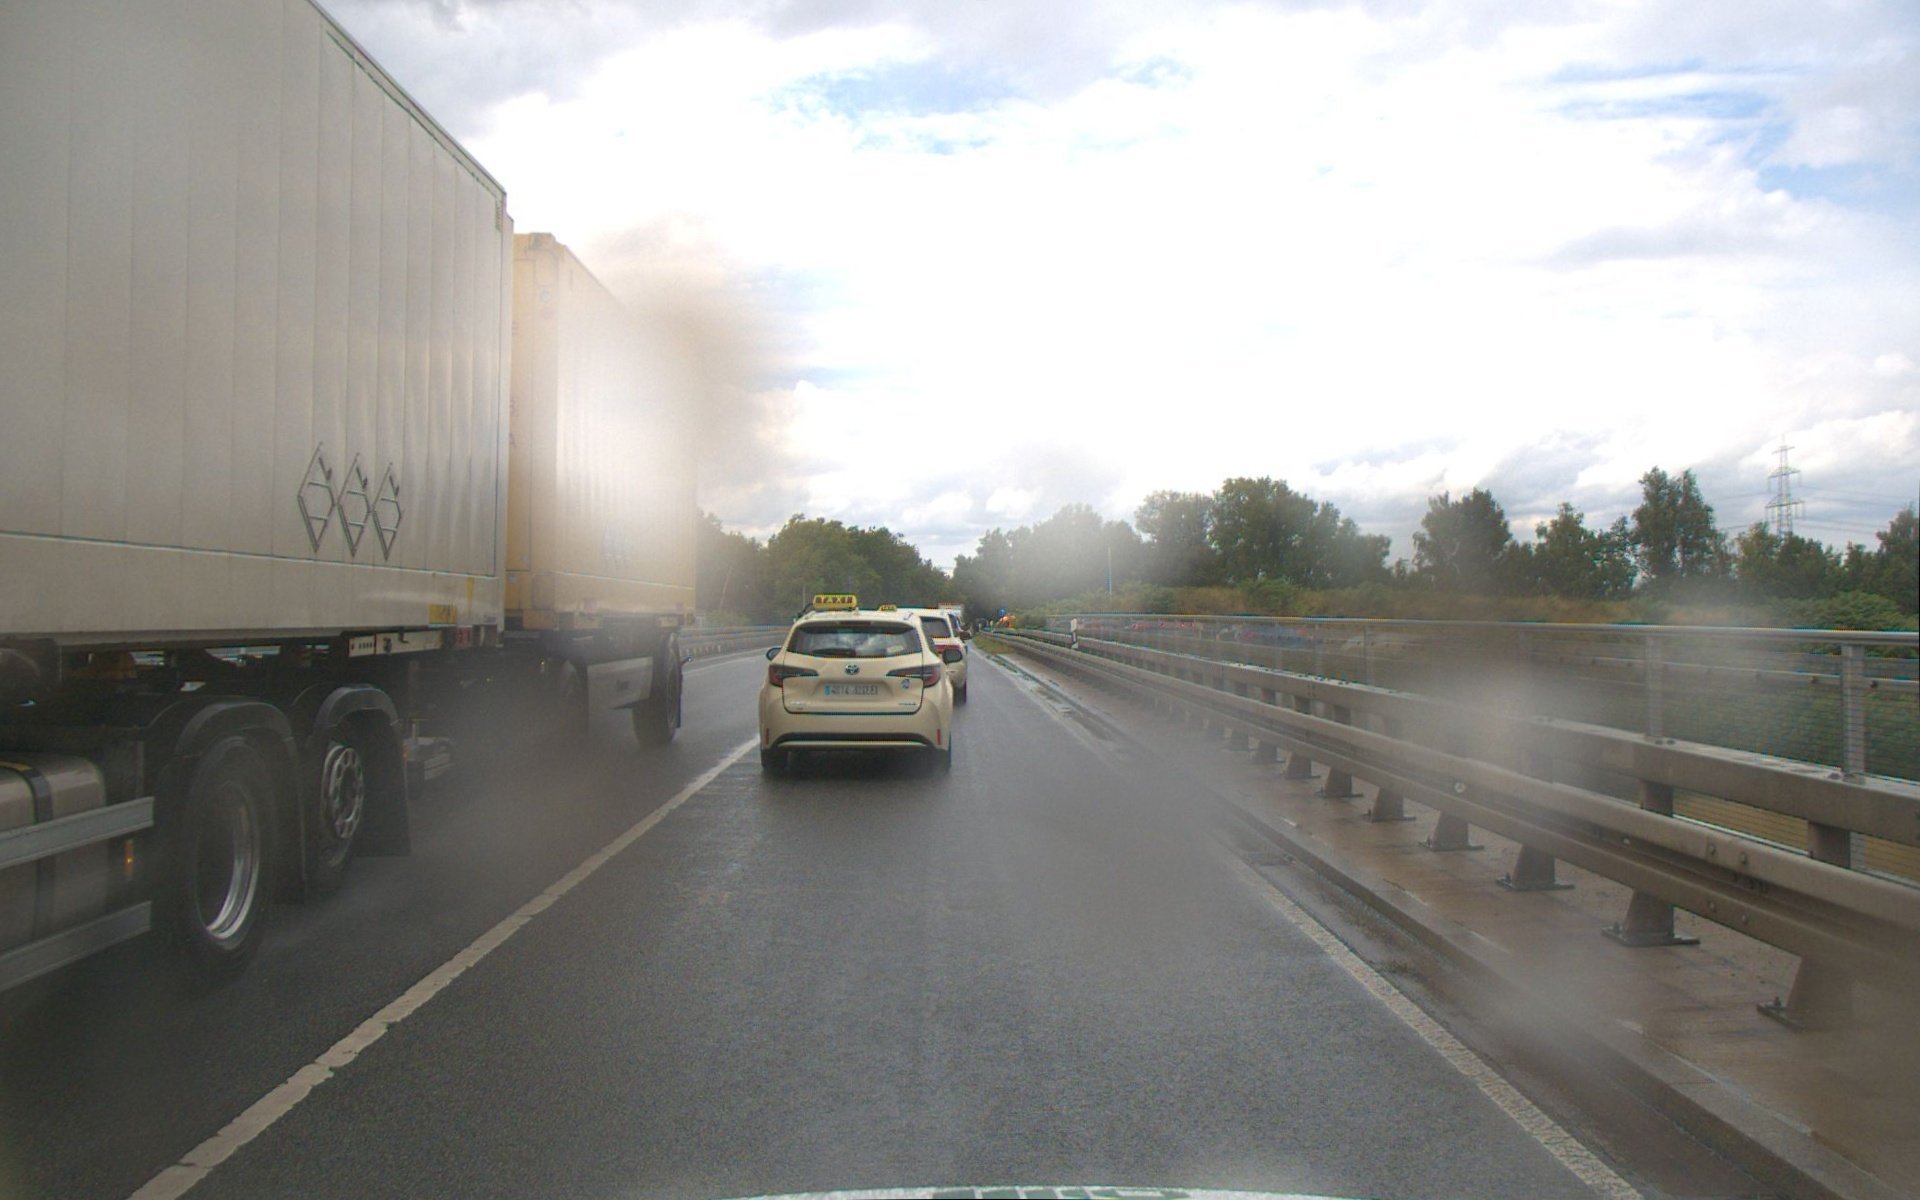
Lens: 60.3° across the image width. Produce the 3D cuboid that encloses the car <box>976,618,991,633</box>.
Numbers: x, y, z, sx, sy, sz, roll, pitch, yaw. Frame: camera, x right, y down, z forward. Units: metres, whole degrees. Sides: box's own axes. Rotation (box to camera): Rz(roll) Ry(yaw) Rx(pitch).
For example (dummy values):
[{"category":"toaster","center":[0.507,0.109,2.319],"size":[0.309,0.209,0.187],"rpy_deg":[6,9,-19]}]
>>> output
[{"category":"car","center":[3.224,3.591,230.336],"size":[1.953,2.049,3.998],"rpy_deg":[1,-1,-2]}]

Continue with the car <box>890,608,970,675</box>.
[{"category":"car","center":[-0.722,0.959,39.919],"size":[1.817,1.468,4.170],"rpy_deg":[1,0,-1]}]

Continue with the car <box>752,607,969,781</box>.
[{"category":"car","center":[-0.875,0.804,16.081],"size":[1.817,1.418,4.170],"rpy_deg":[1,0,-1]}]

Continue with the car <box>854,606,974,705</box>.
[{"category":"car","center":[-0.740,0.856,27.362],"size":[1.817,1.468,4.170],"rpy_deg":[1,0,-1]}]

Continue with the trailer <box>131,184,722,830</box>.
[{"category":"trailer","center":[-4.050,-0.584,14.929],"size":[2.628,4.146,8.483],"rpy_deg":[1,0,-1]}]

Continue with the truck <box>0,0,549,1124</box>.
[{"category":"truck","center":[-3.919,-0.626,5.562],"size":[2.628,4.087,10.053],"rpy_deg":[1,0,-1]}]

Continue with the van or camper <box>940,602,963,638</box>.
[{"category":"van or camper","center":[-0.902,2.026,169.559],"size":[2.285,3.625,6.305],"rpy_deg":[1,-1,-1]}]

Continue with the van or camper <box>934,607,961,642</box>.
[{"category":"van or camper","center":[-1.103,2.111,144.689],"size":[2.285,2.914,6.305],"rpy_deg":[1,-1,-1]}]
